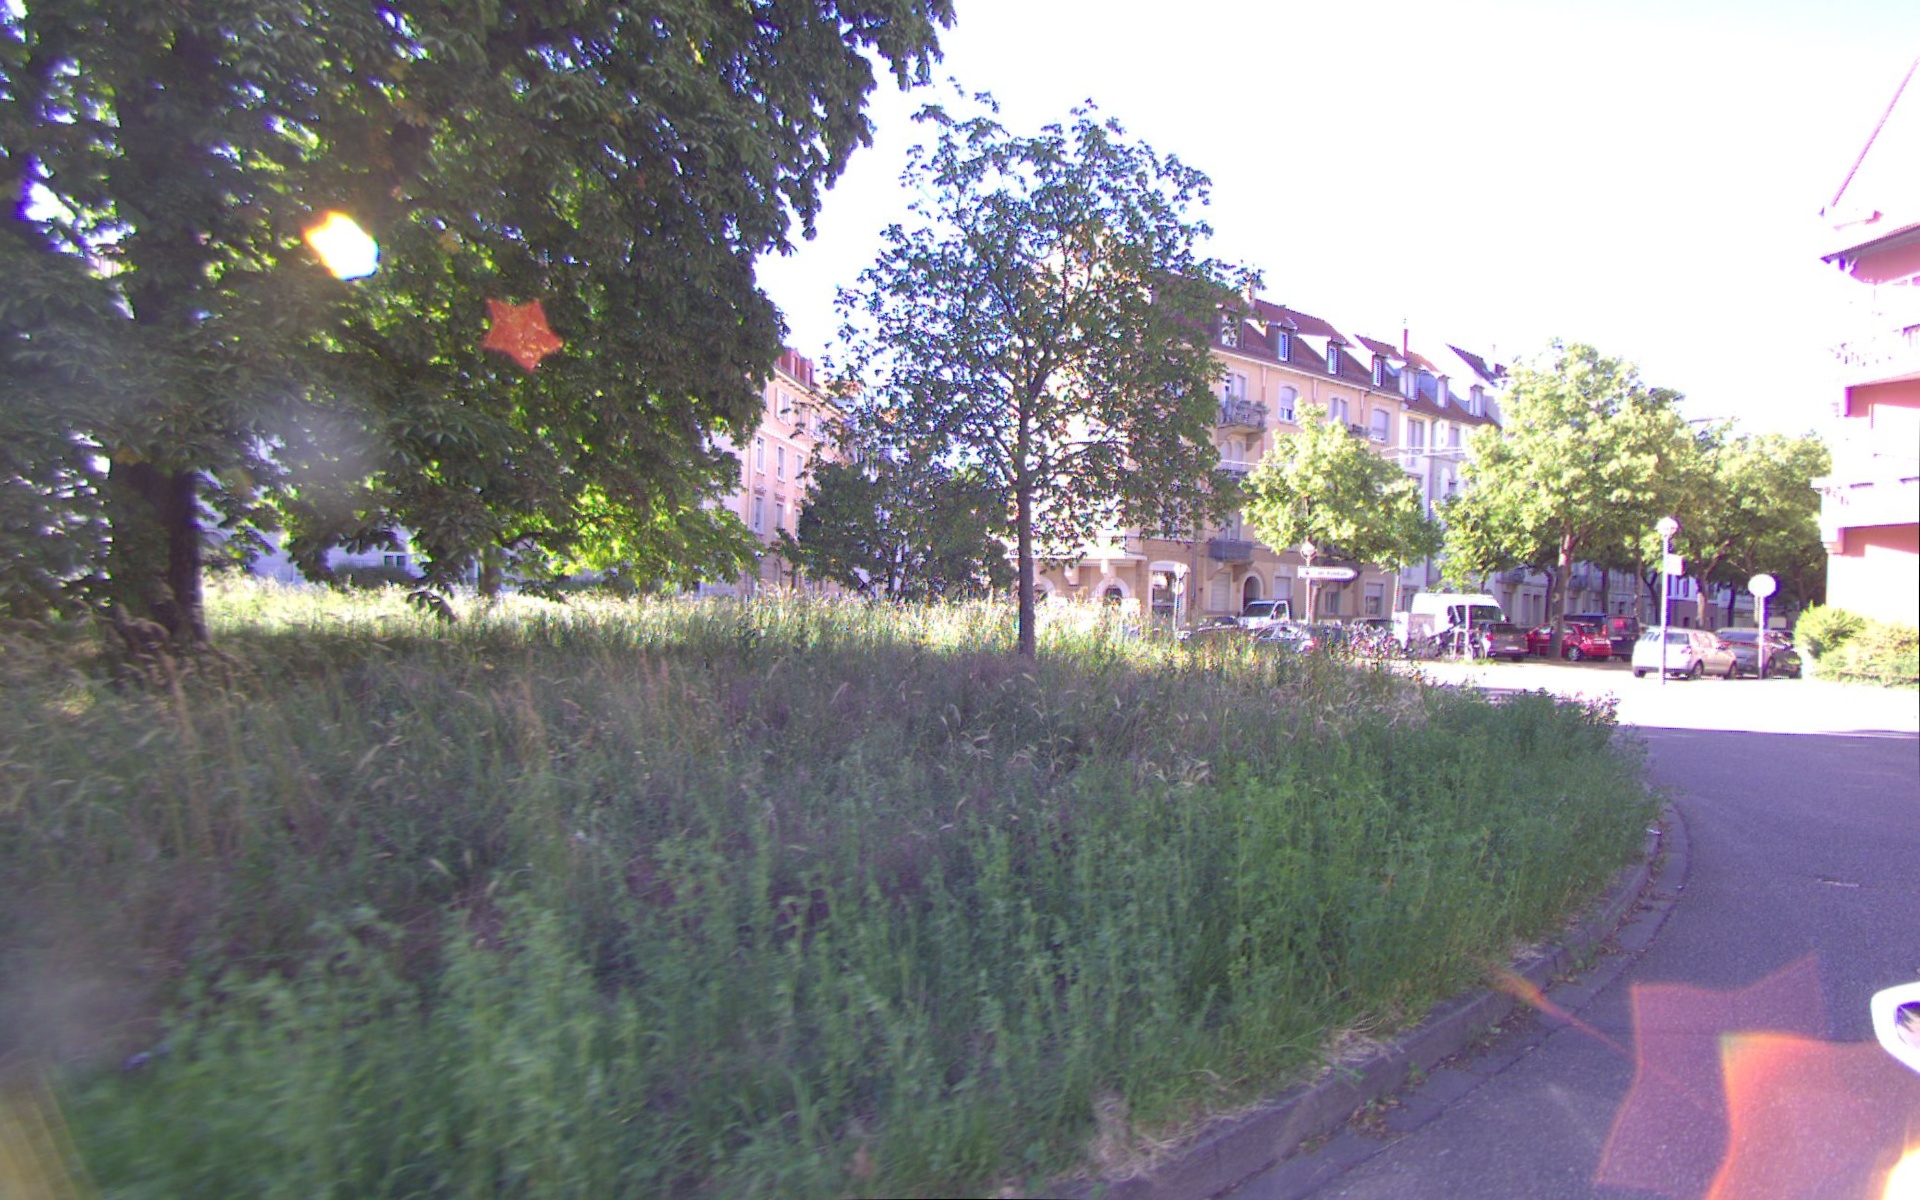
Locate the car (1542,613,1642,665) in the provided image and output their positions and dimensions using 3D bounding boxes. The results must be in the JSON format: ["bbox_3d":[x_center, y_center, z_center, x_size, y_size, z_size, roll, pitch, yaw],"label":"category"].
[{"bbox_3d":[25.551,1.539,40.746,1.656,1.890,3.381,2,1,-5],"label":"car"}]

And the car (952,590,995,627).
[{"bbox_3d":[0.825,0.496,57.693,2.098,1.934,4.564,2,-1,5],"label":"car"}]

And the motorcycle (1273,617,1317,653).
[{"bbox_3d":[13.026,1.343,39.130,0.532,1.287,1.698,1,1,-29],"label":"motorcycle"}]

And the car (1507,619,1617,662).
[{"bbox_3d":[23.530,1.556,39.354,1.663,1.466,3.368,2,1,-20],"label":"car"}]

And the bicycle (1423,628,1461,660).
[{"bbox_3d":[16.735,1.532,34.885,1.509,1.100,0.416,2,-1,-31],"label":"bicycle"}]

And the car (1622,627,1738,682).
[{"bbox_3d":[21.363,1.594,29.782,3.510,1.466,1.672,2,1,-35],"label":"car"}]

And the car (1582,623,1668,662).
[{"bbox_3d":[29.113,1.827,44.078,1.654,1.489,3.385,2,1,4],"label":"car"}]

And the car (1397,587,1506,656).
[{"bbox_3d":[20.990,0.831,43.253,2.061,2.635,6.379,2,1,6],"label":"car"}]

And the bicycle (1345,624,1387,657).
[{"bbox_3d":[14.310,1.437,35.398,1.632,1.117,0.496,2,-1,-32],"label":"bicycle"}]

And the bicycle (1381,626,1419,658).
[{"bbox_3d":[15.271,1.459,34.823,1.509,1.100,0.416,2,-1,-31],"label":"bicycle"}]

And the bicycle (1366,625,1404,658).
[{"bbox_3d":[14.853,1.448,35.095,1.556,1.103,0.416,2,-1,-32],"label":"bicycle"}]

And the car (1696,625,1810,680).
[{"bbox_3d":[25.618,1.669,32.408,4.252,1.583,1.672,2,1,-35],"label":"car"}]

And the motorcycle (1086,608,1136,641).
[{"bbox_3d":[7.206,1.165,47.873,2.208,1.430,0.700,3,2,25],"label":"motorcycle"}]

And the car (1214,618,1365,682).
[{"bbox_3d":[8.958,1.311,27.662,1.843,1.438,3.979,-2,1,-22],"label":"car"}]

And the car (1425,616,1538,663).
[{"bbox_3d":[19.112,1.419,37.030,1.658,1.466,3.915,2,1,-9],"label":"car"}]

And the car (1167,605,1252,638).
[{"bbox_3d":[11.180,0.989,44.954,3.888,1.408,1.670,2,-1,-38],"label":"car"}]

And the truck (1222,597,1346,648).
[{"bbox_3d":[15.692,1.097,48.436,6.553,2.322,2.119,2,-1,-34],"label":"truck"}]

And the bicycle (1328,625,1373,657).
[{"bbox_3d":[13.994,1.460,35.968,1.712,1.103,0.651,2,-1,-34],"label":"bicycle"}]
